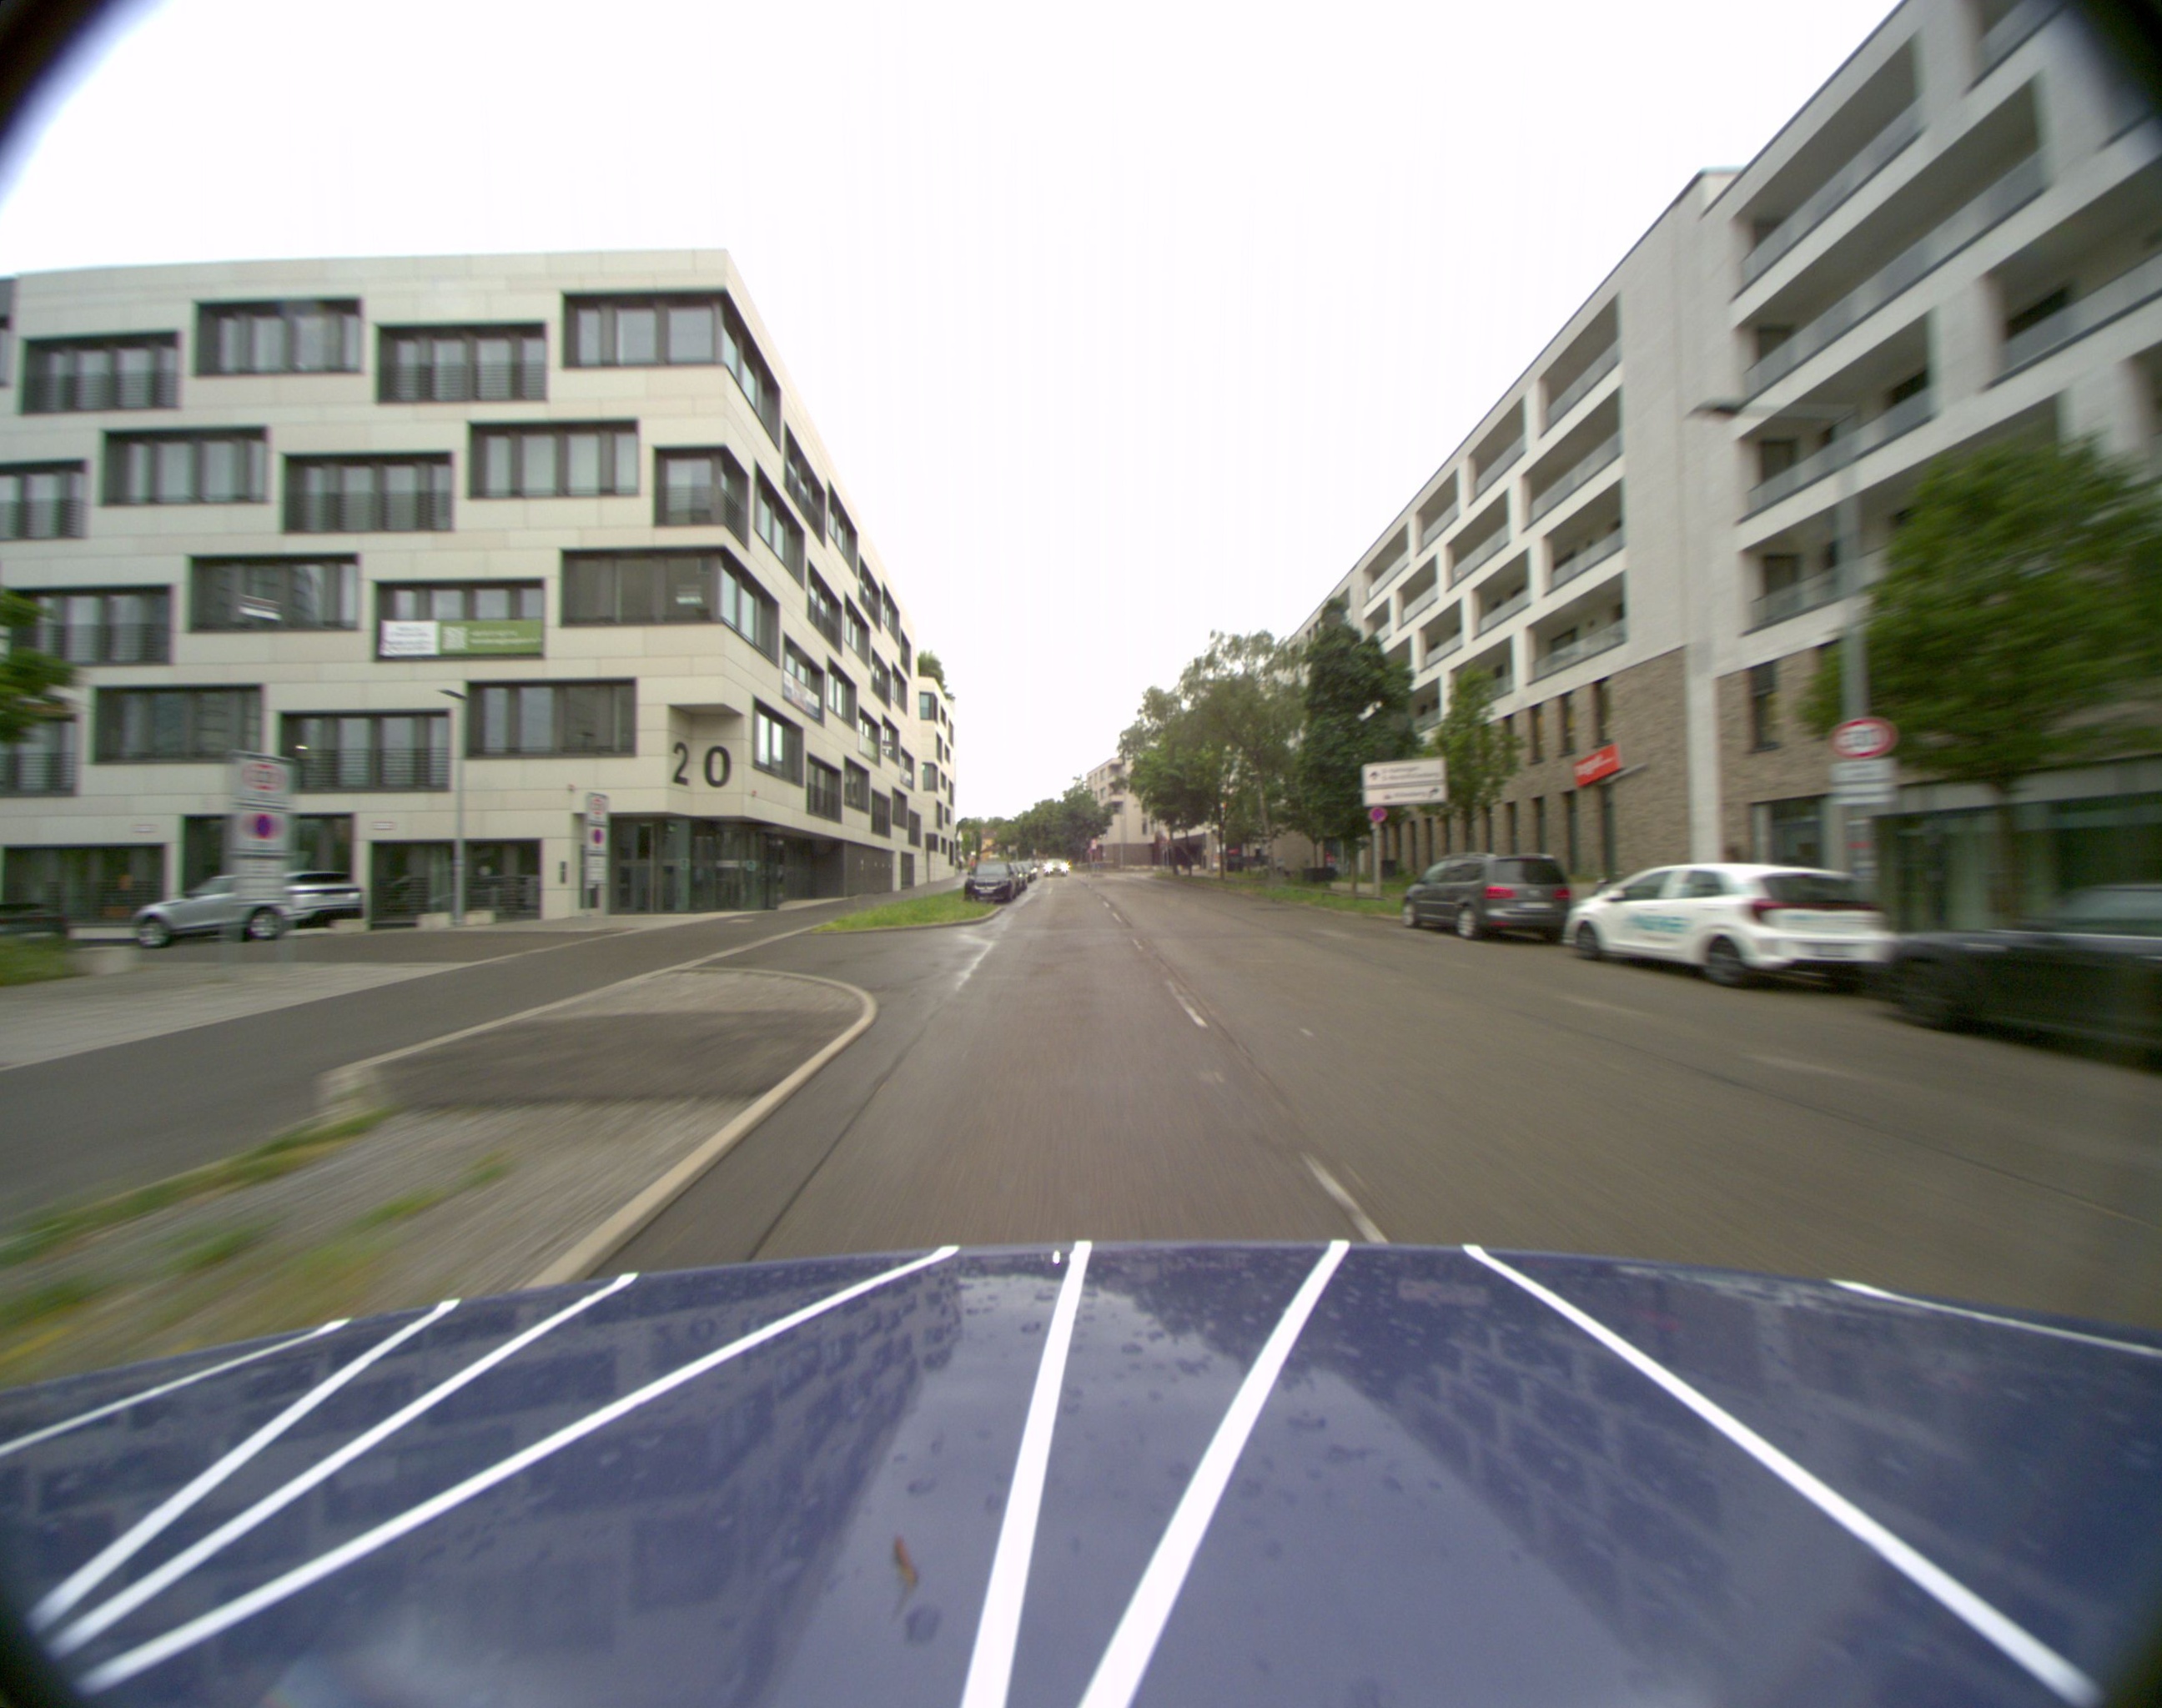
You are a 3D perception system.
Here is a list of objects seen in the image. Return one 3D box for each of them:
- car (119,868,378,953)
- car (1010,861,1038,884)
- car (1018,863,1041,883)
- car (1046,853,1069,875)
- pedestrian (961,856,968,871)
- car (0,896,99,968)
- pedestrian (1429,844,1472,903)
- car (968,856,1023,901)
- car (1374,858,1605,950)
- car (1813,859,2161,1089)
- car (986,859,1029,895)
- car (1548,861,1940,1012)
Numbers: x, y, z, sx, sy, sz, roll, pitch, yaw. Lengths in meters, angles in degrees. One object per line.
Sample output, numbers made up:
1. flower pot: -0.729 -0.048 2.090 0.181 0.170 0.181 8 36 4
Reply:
1. car: -19.472 1.282 17.903 3.996 1.606 1.894 -4 0 2
2. car: -4.165 1.312 56.064 1.812 1.476 4.494 -1 1 -1
3. car: -4.143 1.508 61.358 1.550 1.469 3.660 -1 -1 0
4. car: -2.281 0.933 73.200 1.849 1.961 4.341 -1 1 -7
5. pedestrian: -14.635 1.166 95.188 0.825 1.785 1.207 0 1 -7
6. car: -26.762 1.877 18.237 3.997 1.536 1.789 -1 1 0
7. pedestrian: 10.773 0.559 22.182 0.710 1.673 0.956 -1 0 -5
8. car: -3.479 0.966 31.604 1.812 1.669 4.712 -1 -1 -1
9. car: 8.032 0.895 15.583 2.083 1.599 4.685 0 0 -2
10. car: 8.361 0.849 5.642 1.801 1.507 4.245 -1 1 1
11. car: -3.607 1.095 37.809 1.753 1.596 4.372 -1 1 -1
12. car: 8.448 0.913 10.274 1.778 1.591 4.032 -1 0 0
